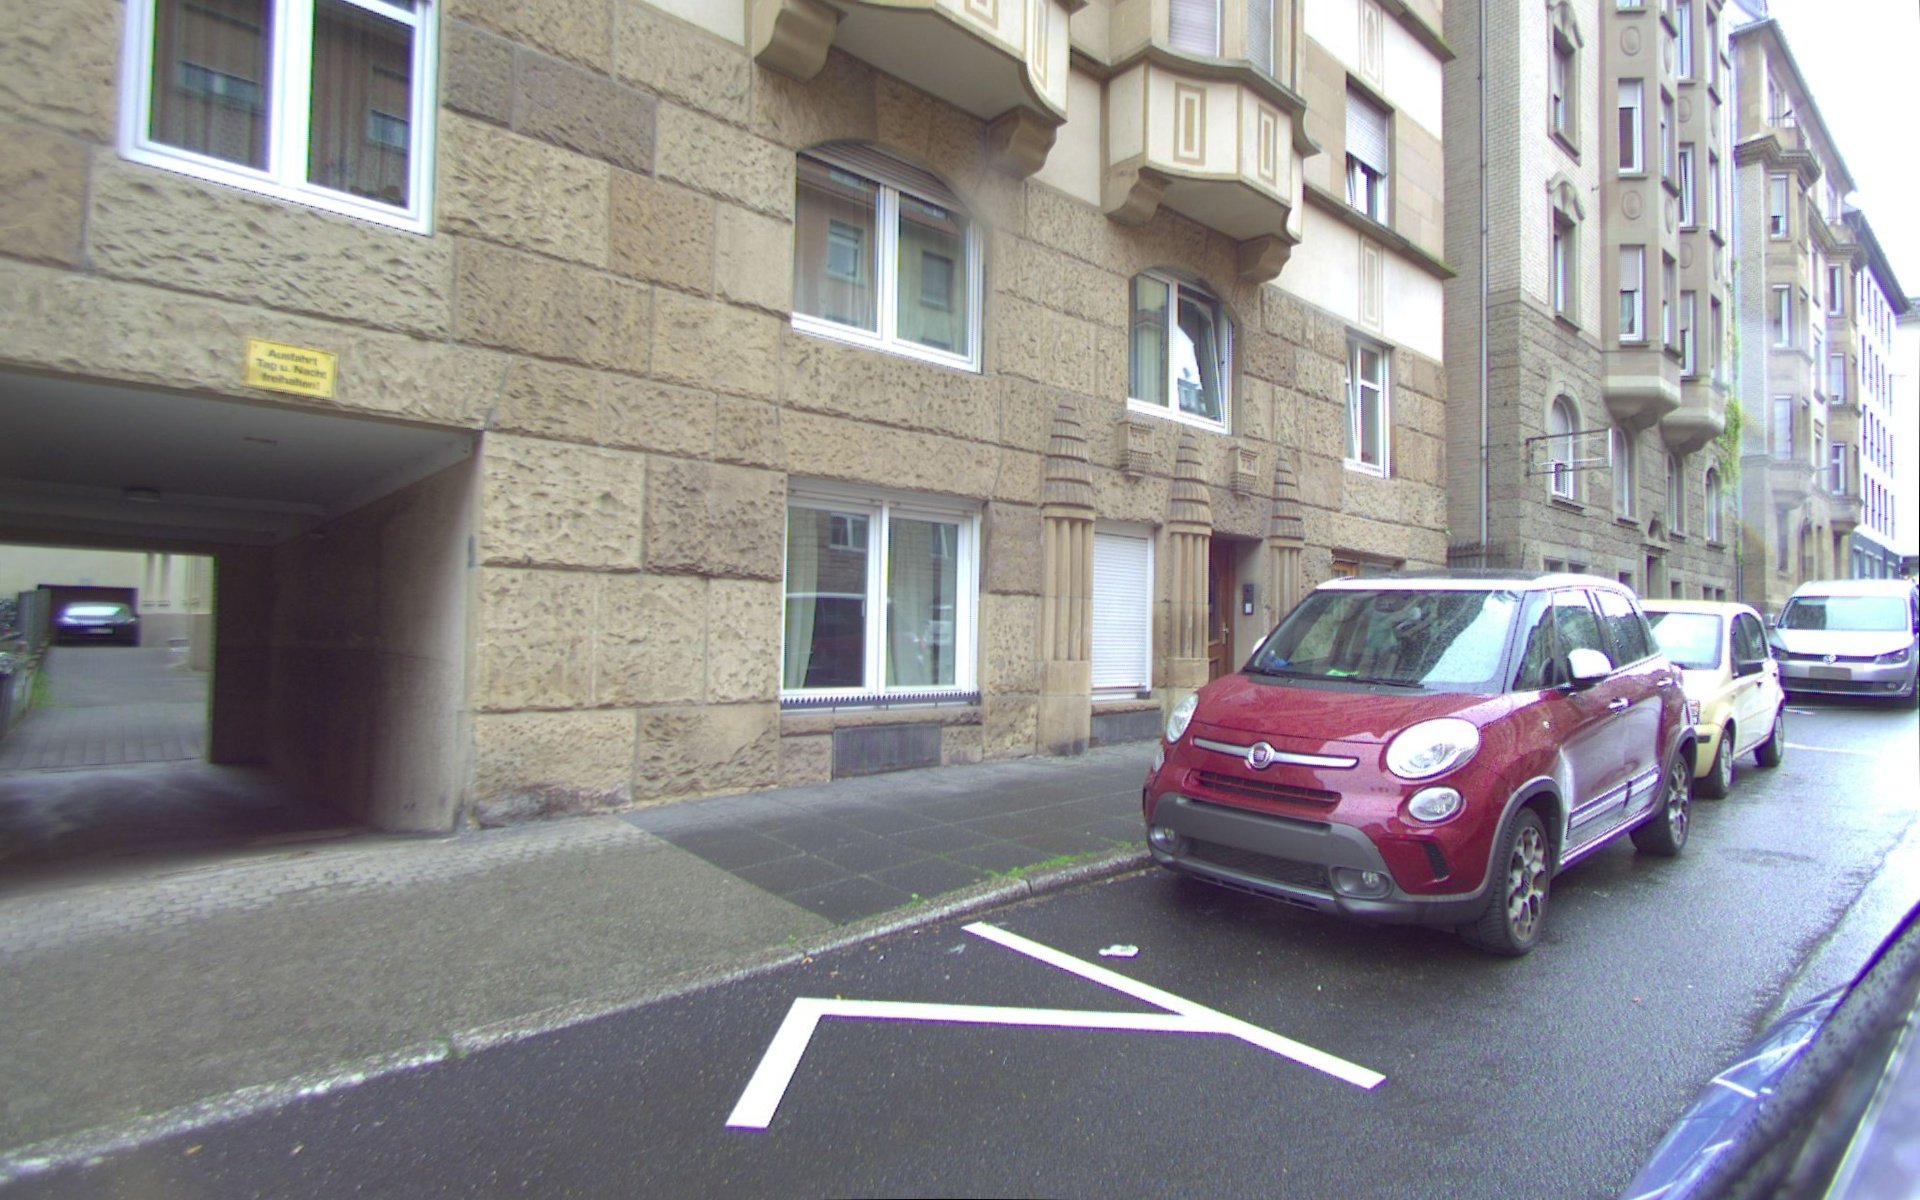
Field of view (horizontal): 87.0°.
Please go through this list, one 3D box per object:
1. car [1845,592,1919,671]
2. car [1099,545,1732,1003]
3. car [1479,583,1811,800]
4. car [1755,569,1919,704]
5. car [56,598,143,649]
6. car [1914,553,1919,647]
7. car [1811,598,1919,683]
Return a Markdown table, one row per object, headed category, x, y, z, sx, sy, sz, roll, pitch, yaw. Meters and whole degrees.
| category | x | y | z | sx | sy | sz | roll | pitch | yaw |
| --- | --- | --- | --- | --- | --- | --- | --- | --- | --- |
| car | 20.348 | 0.617 | 21.385 | 3.987 | 1.544 | 1.933 | 0 | -1 | -41 |
| car | 2.714 | 0.595 | 5.568 | 3.932 | 1.621 | 1.772 | 0 | 1 | -42 |
| car | 6.142 | 0.656 | 8.942 | 3.471 | 1.530 | 1.630 | 0 | -1 | -42 |
| car | 13.608 | 0.479 | 15.288 | 3.893 | 1.791 | 1.809 | 0 | 0 | -41 |
| car | -25.104 | 0.639 | 29.466 | 1.765 | 1.363 | 4.008 | -1 | 1 | -43 |
| car | 29.149 | -0.019 | 28.846 | 6.042 | 2.567 | 1.991 | 0 | -1 | -39 |
| car | 17.148 | 0.671 | 18.424 | 3.912 | 1.406 | 1.929 | 0 | -1 | -41 |
